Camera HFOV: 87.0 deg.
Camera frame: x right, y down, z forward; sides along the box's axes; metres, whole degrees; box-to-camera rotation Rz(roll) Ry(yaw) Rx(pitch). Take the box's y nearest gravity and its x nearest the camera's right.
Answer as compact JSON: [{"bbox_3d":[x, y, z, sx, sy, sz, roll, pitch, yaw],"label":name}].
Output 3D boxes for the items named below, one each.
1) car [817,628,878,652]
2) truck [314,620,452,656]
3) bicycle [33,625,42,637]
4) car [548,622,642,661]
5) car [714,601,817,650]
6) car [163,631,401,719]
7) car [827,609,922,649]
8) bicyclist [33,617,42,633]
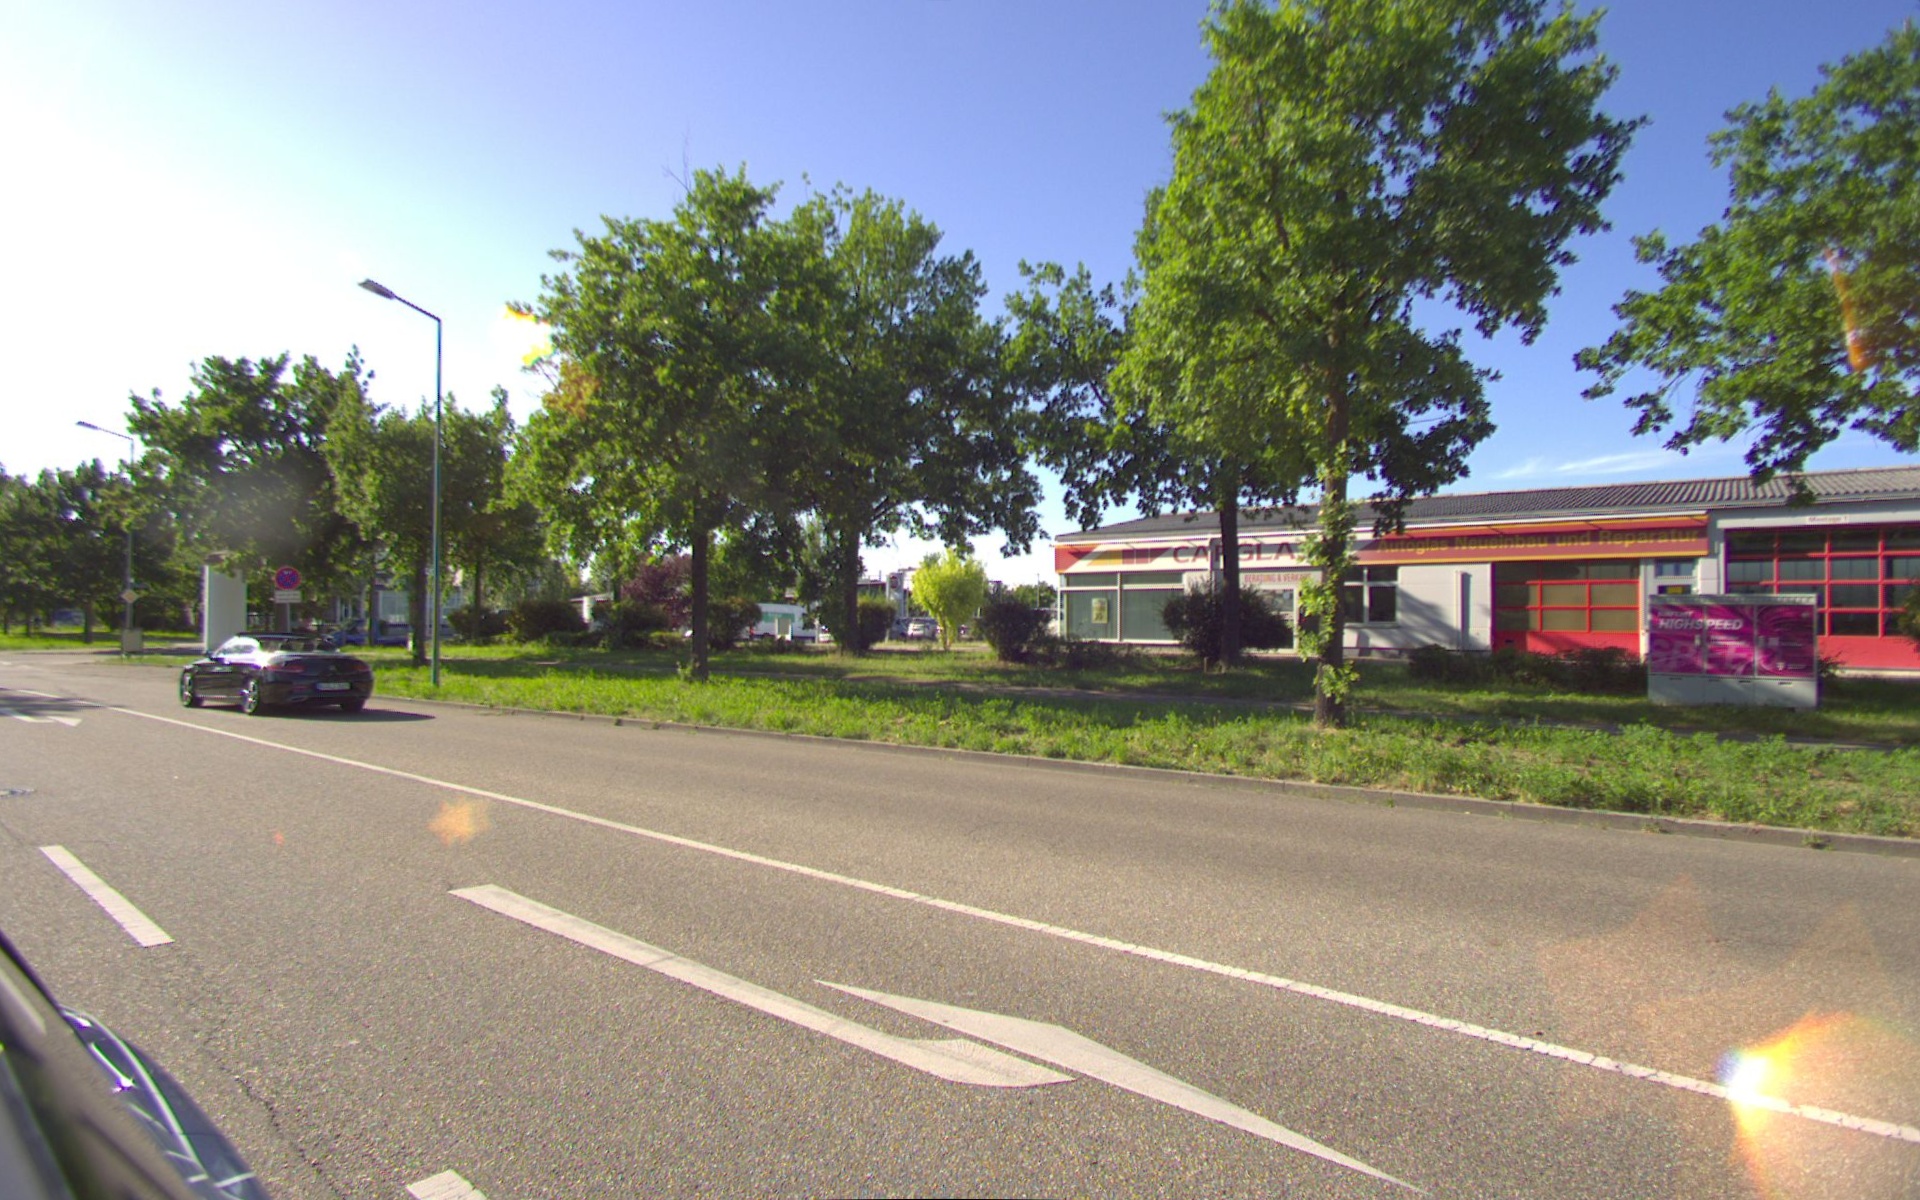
[{"bbox_3d":[-6.473,2.288,58.395,1.572,1.312,3.489,-1,-2,38],"label":"car"},{"bbox_3d":[-35.315,2.309,62.219,2.138,2.065,7.043,0,-2,38],"label":"truck"},{"bbox_3d":[-94.817,3.159,104.013,2.334,1.170,0.545,0,0,43],"label":"bicycle"},{"bbox_3d":[-26.604,2.961,73.968,2.297,2.535,6.280,0,0,37],"label":"car"},{"bbox_3d":[-11.544,1.453,60.577,2.297,2.723,6.102,0,0,37],"label":"car"},{"bbox_3d":[-12.431,1.314,18.483,4.575,1.414,1.977,-1,-5,34],"label":"car"},{"bbox_3d":[-4.706,1.607,56.383,2.297,2.085,5.359,-1,-2,37],"label":"car"},{"bbox_3d":[-94.814,2.573,104.012,0.659,1.641,0.657,0,0,43],"label":"bicyclist"}]
